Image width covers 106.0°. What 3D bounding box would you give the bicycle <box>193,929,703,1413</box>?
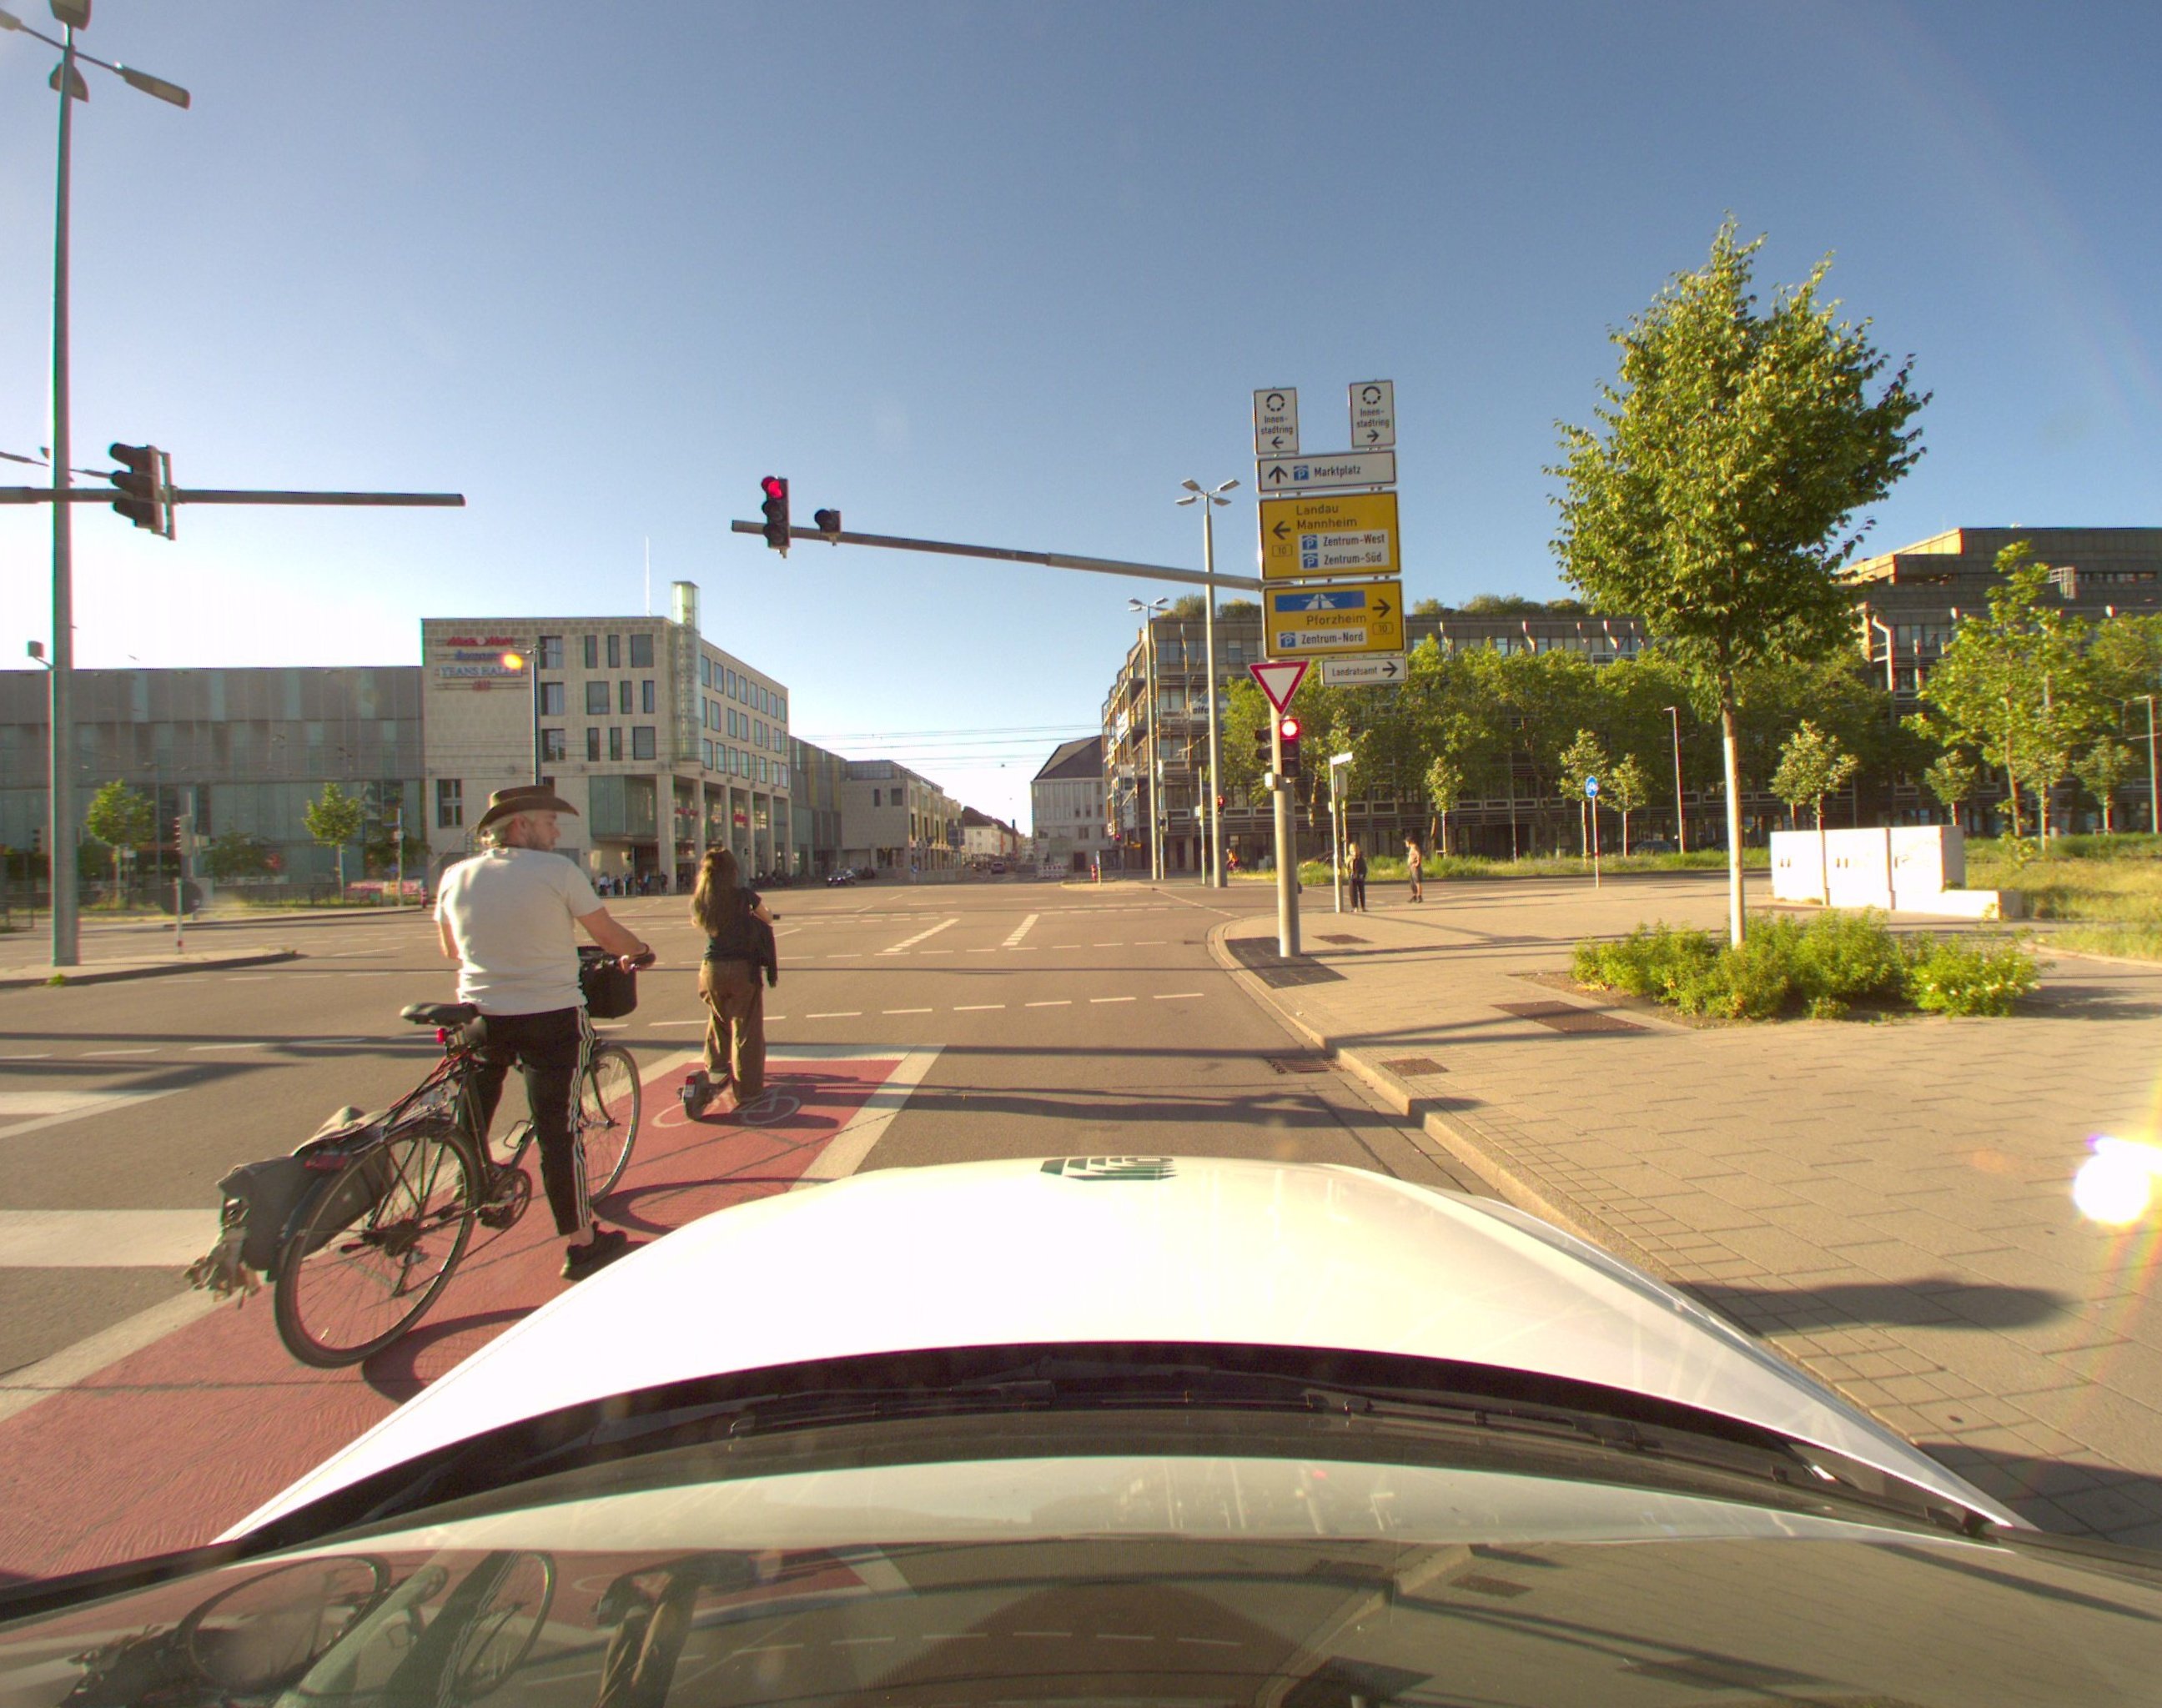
[{"bbox_3d":[-2.149,0.947,3.135,0.483,1.156,1.832,0,-1,2],"label":"bicycle"}]

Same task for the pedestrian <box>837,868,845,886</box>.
[{"bbox_3d":[-23.327,2.208,79.096,0.650,1.719,0.447,-2,0,-22],"label":"pedestrian"}]

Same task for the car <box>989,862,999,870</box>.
[{"bbox_3d":[-16.301,2.232,152.327,1.782,1.451,3.993,0,-1,-5],"label":"car"}]

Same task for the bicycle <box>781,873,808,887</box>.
[{"bbox_3d":[-26.695,2.459,75.961,2.299,1.222,0.612,-2,-1,-1],"label":"bicycle"}]

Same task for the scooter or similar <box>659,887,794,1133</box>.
[{"bbox_3d":[-2.157,0.874,5.071,0.547,1.294,1.188,0,-1,-13],"label":"scooter or similar"}]

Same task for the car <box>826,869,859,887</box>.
[{"bbox_3d":[-20.623,2.048,70.505,1.625,1.342,3.999,-4,-1,0],"label":"car"}]

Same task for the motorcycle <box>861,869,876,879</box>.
[{"bbox_3d":[-25.779,2.426,98.736,1.807,1.206,0.509,0,0,-14],"label":"motorcycle"}]

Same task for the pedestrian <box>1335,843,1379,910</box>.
[{"bbox_3d":[6.309,0.504,18.651,0.785,1.492,0.644,0,-1,1],"label":"pedestrian"}]

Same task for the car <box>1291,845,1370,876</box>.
[{"bbox_3d":[14.056,0.360,45.964,3.880,1.585,1.656,-2,-1,-6],"label":"car"}]

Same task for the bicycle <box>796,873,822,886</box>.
[{"bbox_3d":[-27.183,2.506,81.341,2.299,1.222,0.612,-2,-1,-1],"label":"bicycle"}]

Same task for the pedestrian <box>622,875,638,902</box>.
[{"bbox_3d":[-31.945,2.448,57.690,0.783,1.885,0.716,0,-1,-4],"label":"pedestrian"}]

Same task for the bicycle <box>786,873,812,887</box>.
[{"bbox_3d":[-27.061,2.479,78.129,2.299,1.222,0.612,-2,-1,-1],"label":"bicycle"}]

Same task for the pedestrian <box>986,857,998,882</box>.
[{"bbox_3d":[-6.751,1.175,61.690,0.637,1.890,0.794,-1,-1,16],"label":"pedestrian"}]

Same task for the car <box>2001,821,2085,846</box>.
[{"bbox_3d":[63.960,-1.345,54.167,3.892,1.585,1.656,0,-1,-5],"label":"car"}]

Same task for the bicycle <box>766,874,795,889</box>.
[{"bbox_3d":[-26.563,2.425,72.009,2.299,1.222,0.612,-2,-1,-1],"label":"bicycle"}]

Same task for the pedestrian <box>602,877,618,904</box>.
[{"bbox_3d":[-33.943,2.622,58.723,0.714,1.885,0.786,0,-1,-6],"label":"pedestrian"}]

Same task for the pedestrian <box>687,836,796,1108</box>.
[{"bbox_3d":[-2.163,0.709,5.240,0.549,1.633,0.569,0,-1,-13],"label":"pedestrian"}]

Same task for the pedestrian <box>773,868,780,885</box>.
[{"bbox_3d":[-29.545,2.178,79.037,0.553,1.679,0.606,0,0,-8],"label":"pedestrian"}]

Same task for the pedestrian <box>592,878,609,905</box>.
[{"bbox_3d":[-33.867,2.610,57.371,0.783,1.885,0.716,0,-1,-4],"label":"pedestrian"}]

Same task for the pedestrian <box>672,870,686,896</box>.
[{"bbox_3d":[-29.105,2.063,58.938,0.801,1.843,0.855,-2,0,-30],"label":"pedestrian"}]

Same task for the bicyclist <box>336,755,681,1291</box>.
[{"bbox_3d":[-2.056,0.547,3.058,0.658,1.720,0.866,0,-1,1],"label":"bicyclist"}]

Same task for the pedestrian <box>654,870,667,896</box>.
[{"bbox_3d":[-30.791,2.116,59.664,0.800,1.843,0.856,-2,0,-26],"label":"pedestrian"}]

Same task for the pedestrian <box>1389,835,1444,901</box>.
[{"bbox_3d":[8.654,0.355,21.013,0.881,1.665,0.958,0,-1,-19],"label":"pedestrian"}]

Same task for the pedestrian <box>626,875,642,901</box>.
[{"bbox_3d":[-32.511,2.465,59.241,0.783,1.885,0.716,0,-1,-4],"label":"pedestrian"}]

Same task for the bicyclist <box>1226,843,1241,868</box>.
[{"bbox_3d":[8.816,0.076,47.152,0.710,1.437,0.496,0,-1,-7],"label":"bicyclist"}]

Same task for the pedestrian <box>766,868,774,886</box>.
[{"bbox_3d":[-30.095,2.206,78.897,0.570,1.679,0.614,0,0,-8],"label":"pedestrian"}]

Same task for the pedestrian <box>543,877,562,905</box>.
[{"bbox_3d":[-38.234,2.669,58.907,0.883,2.014,0.771,0,-1,-9],"label":"pedestrian"}]

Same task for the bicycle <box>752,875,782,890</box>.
[{"bbox_3d":[-26.732,2.405,69.372,2.299,1.222,0.612,-2,-1,-1],"label":"bicycle"}]

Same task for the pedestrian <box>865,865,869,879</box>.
[{"bbox_3d":[-26.099,2.187,99.353,0.521,1.679,0.580,0,0,-12],"label":"pedestrian"}]

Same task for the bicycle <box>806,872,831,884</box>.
[{"bbox_3d":[-27.586,2.544,85.579,2.299,1.222,0.612,-2,-1,-1],"label":"bicycle"}]

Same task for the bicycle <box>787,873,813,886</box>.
[{"bbox_3d":[-27.627,2.500,80.124,2.299,1.222,0.612,-2,-1,-1],"label":"bicycle"}]

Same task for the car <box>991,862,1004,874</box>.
[{"bbox_3d":[-11.135,1.855,108.652,1.735,1.531,3.848,0,-1,-5],"label":"car"}]

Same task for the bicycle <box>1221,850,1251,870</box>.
[{"bbox_3d":[8.981,0.336,47.164,1.643,1.154,0.496,0,-1,-8],"label":"bicycle"}]

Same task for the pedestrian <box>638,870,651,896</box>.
[{"bbox_3d":[-31.194,2.068,58.209,0.718,1.885,0.781,0,-1,-25],"label":"pedestrian"}]

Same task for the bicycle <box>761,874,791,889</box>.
[{"bbox_3d":[-26.461,2.413,70.649,2.299,1.222,0.612,-2,-1,-1],"label":"bicycle"}]

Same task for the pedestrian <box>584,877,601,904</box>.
[{"bbox_3d":[-35.014,2.594,58.368,0.783,1.885,0.716,0,-1,-4],"label":"pedestrian"}]

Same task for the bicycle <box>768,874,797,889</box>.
[{"bbox_3d":[-26.738,2.434,72.894,2.299,1.222,0.612,-2,-1,-1],"label":"bicycle"}]
